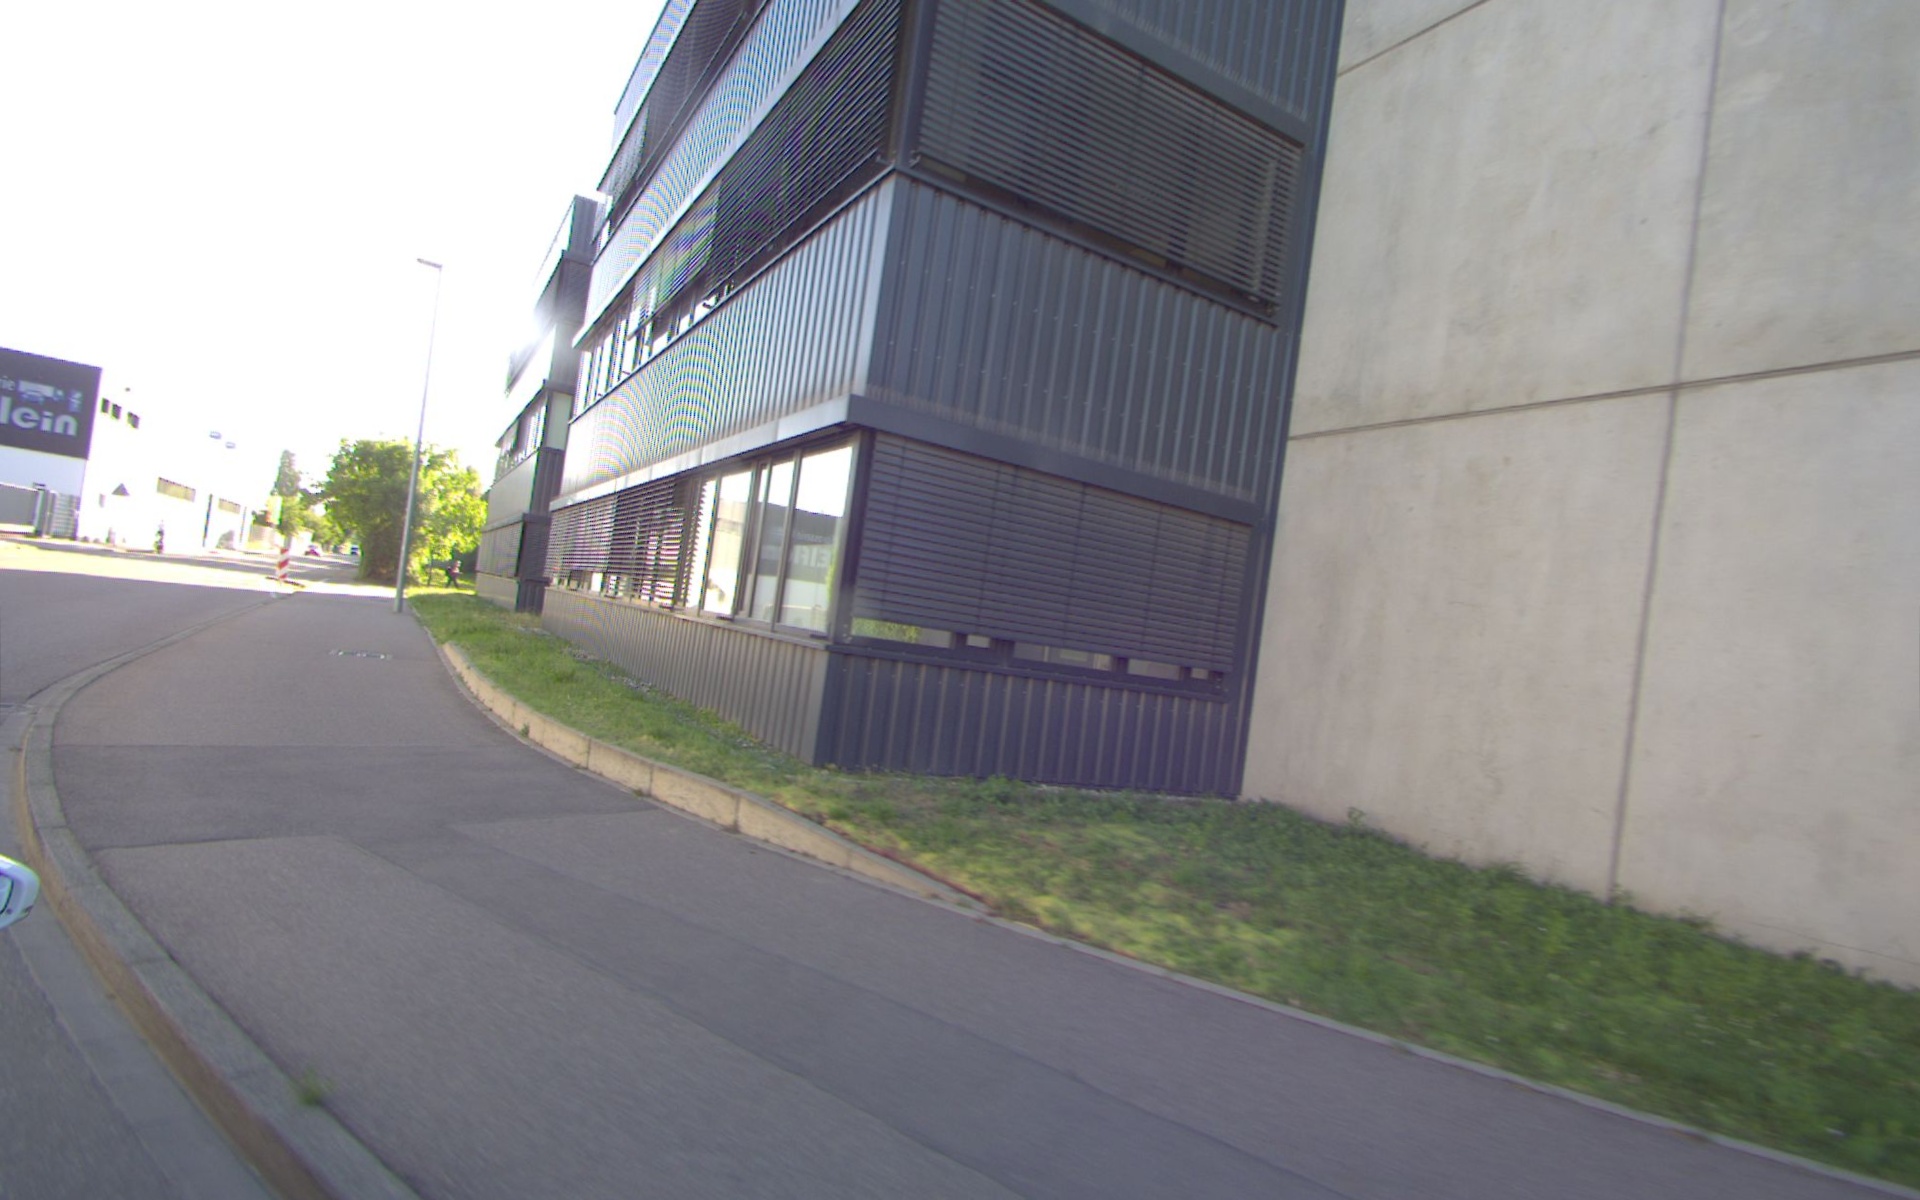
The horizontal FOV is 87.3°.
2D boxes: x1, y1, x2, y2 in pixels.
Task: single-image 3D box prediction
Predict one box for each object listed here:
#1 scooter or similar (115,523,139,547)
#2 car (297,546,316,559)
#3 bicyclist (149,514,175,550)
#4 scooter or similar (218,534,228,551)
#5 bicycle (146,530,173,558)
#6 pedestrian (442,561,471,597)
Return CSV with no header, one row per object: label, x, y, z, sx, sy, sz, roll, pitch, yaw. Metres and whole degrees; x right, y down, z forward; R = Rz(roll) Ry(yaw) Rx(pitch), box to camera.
scooter or similar,-45.474,-3.541,54.952,0.504,1.215,1.740,12,-4,-29
car,-82.580,-5.995,127.159,1.803,1.508,3.968,5,0,-32
bicyclist,-40.070,-3.405,50.504,0.741,1.647,0.827,8,-1,-32
scooter or similar,-62.090,-4.843,84.784,0.413,1.282,1.051,8,-1,-30
bicycle,-40.157,-2.810,50.490,0.663,1.303,2.155,8,-2,-31
pedestrian,-26.882,-1.112,53.682,1.144,1.815,0.888,5,0,-34
